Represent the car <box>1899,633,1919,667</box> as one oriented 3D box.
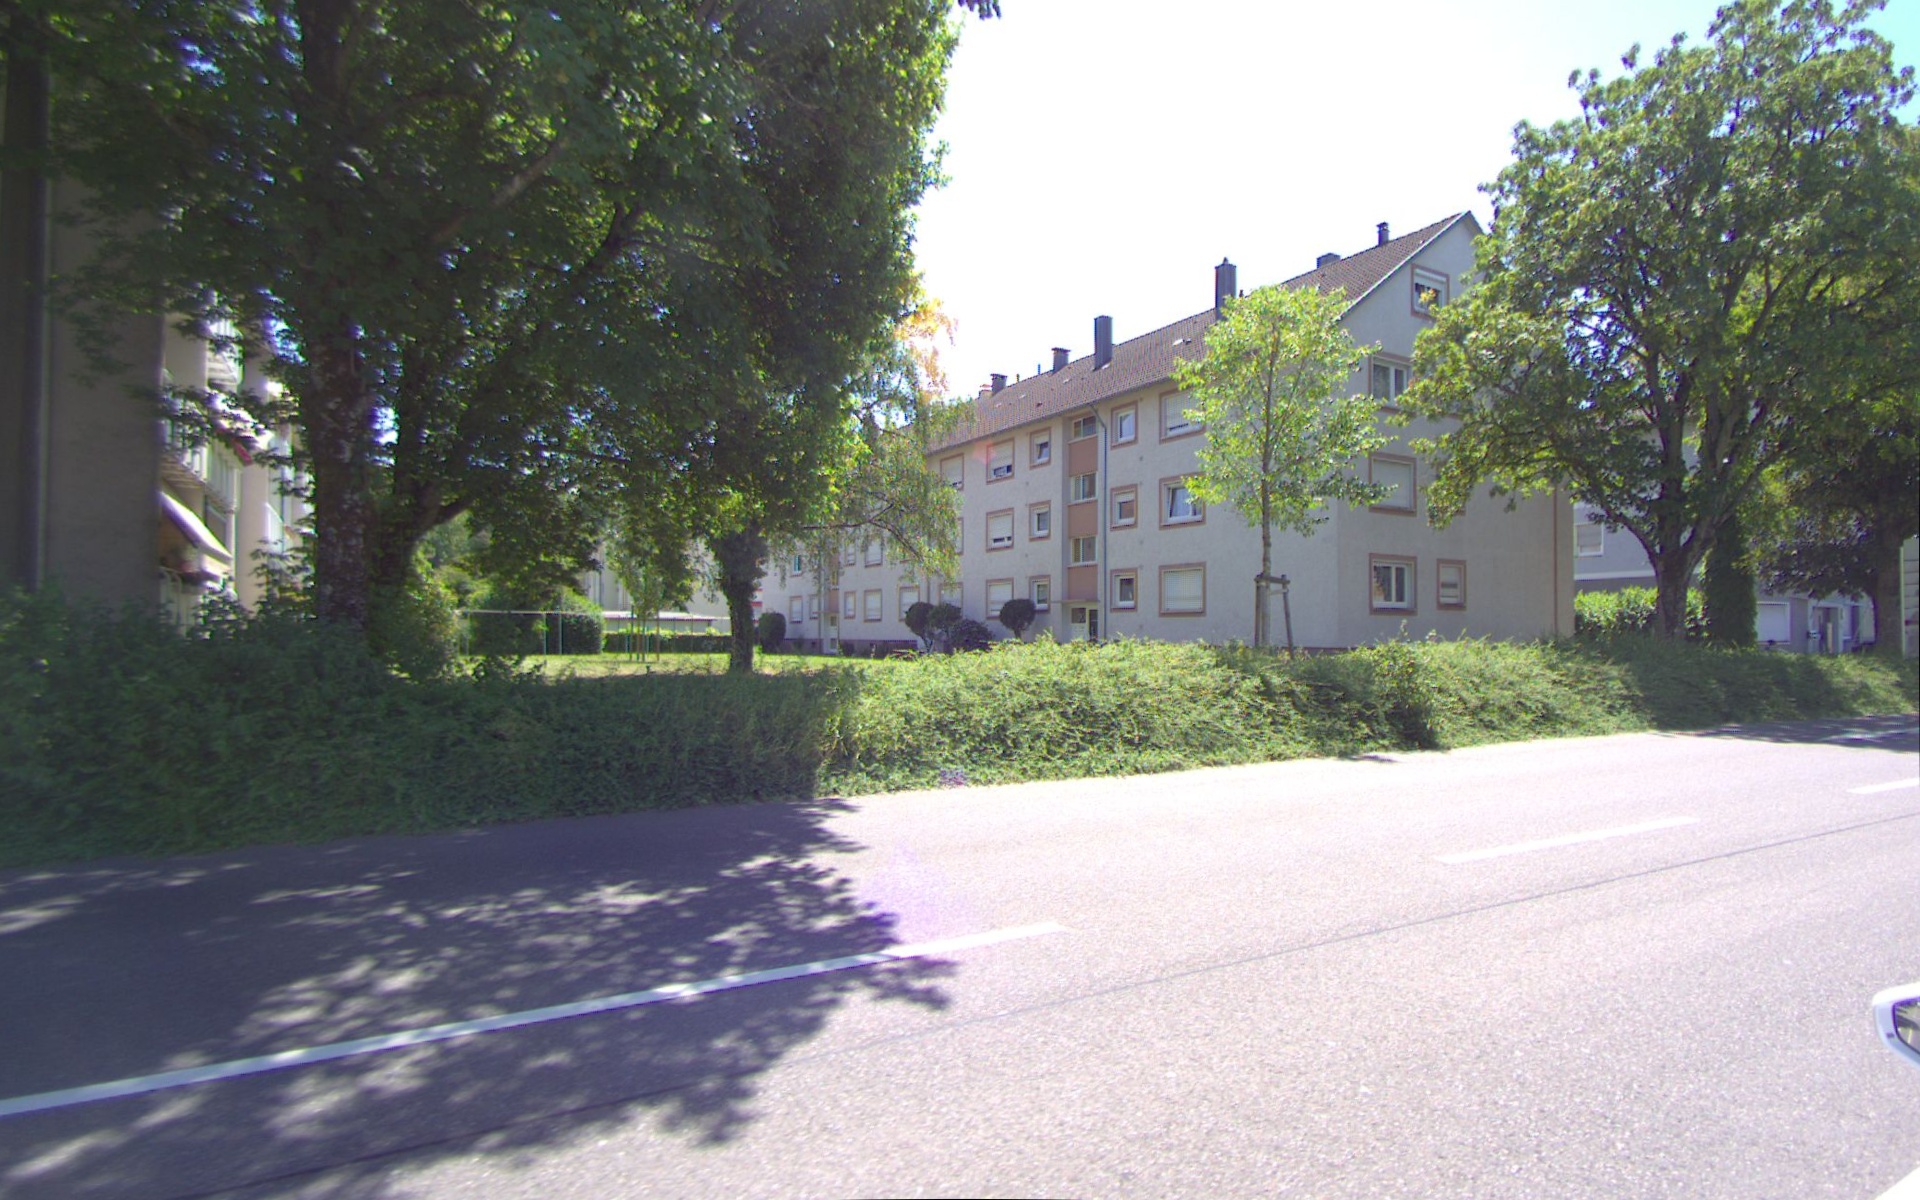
[{"bbox_3d":[43.110,2.155,42.866,4.289,1.458,1.931,-1,-2,40],"label":"car"}]
